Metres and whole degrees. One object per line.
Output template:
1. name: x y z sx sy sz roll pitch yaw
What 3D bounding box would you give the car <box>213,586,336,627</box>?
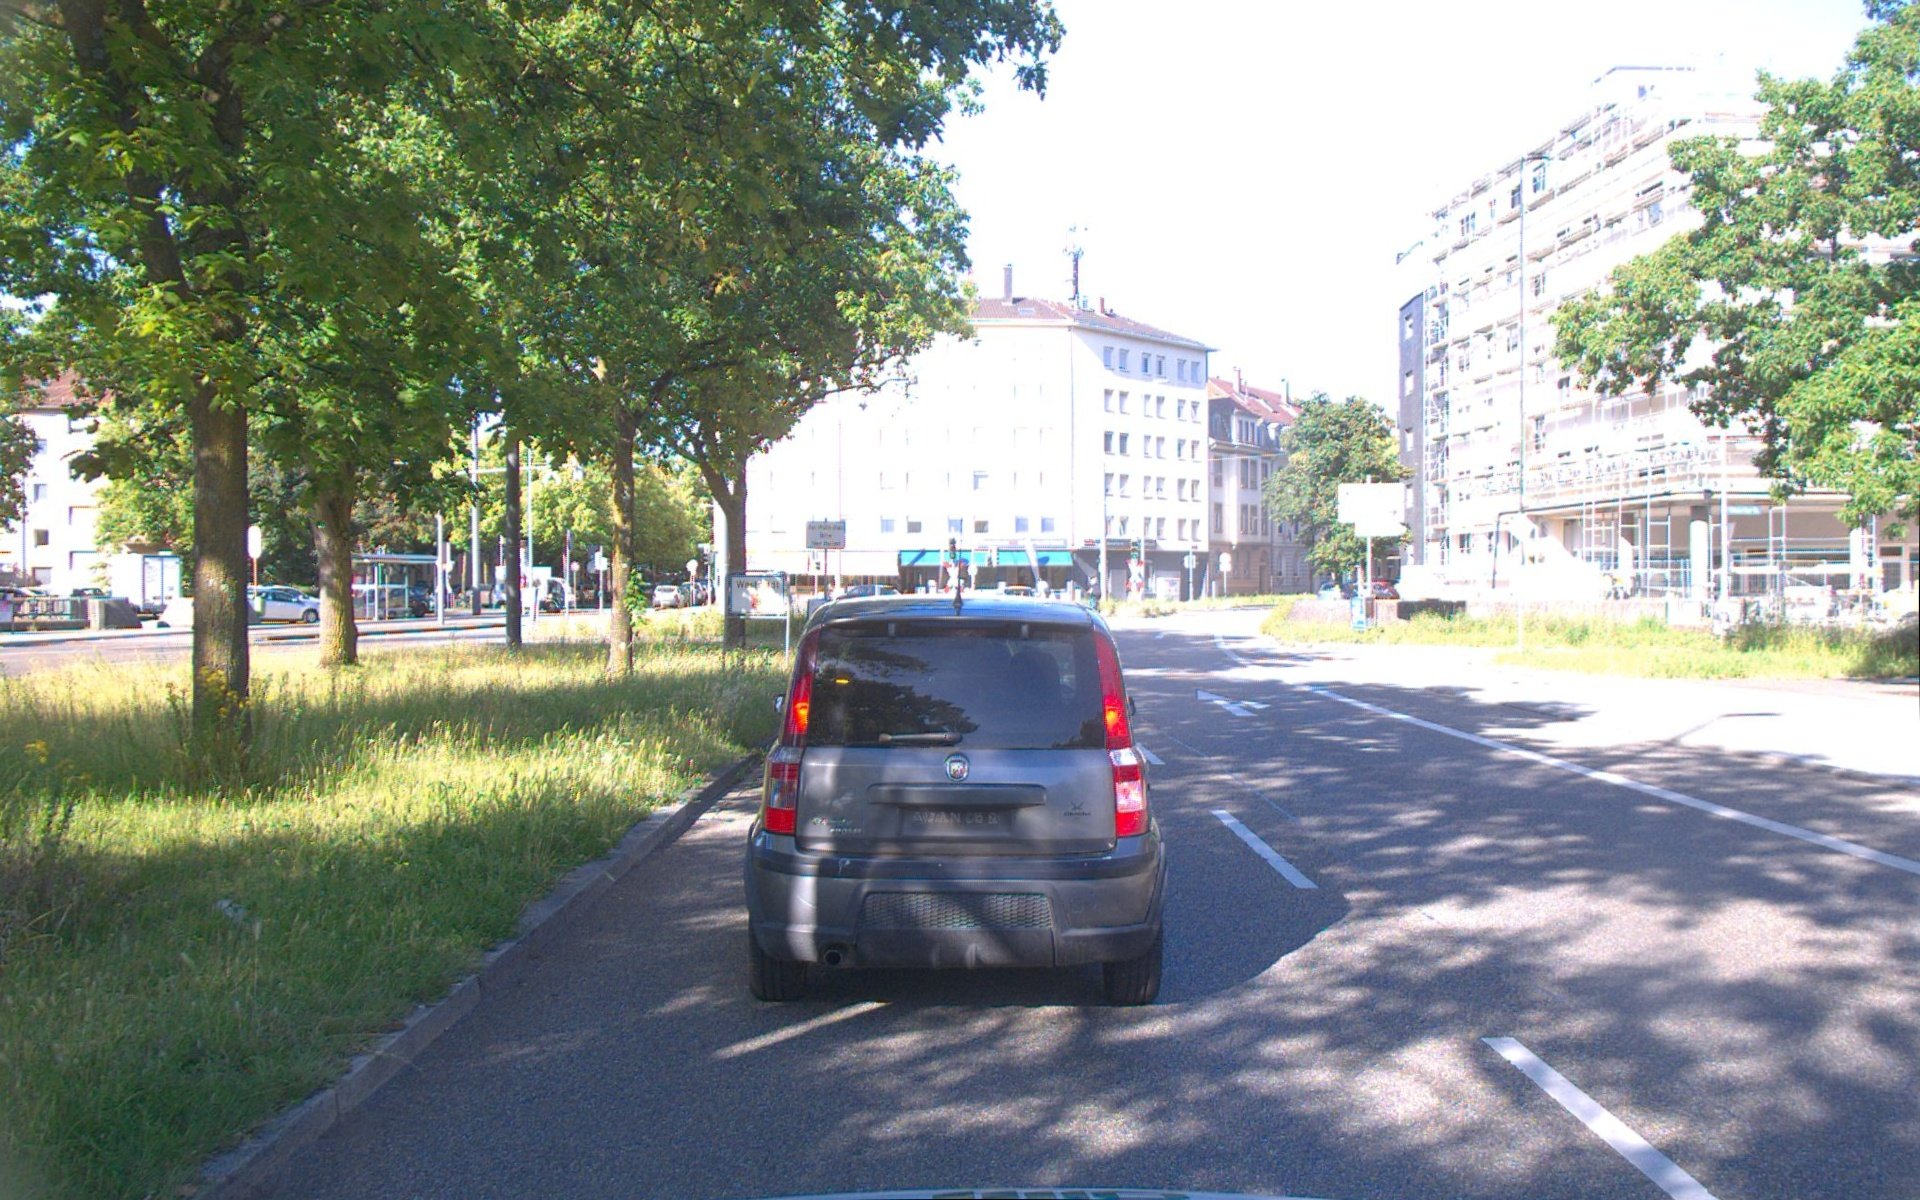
1. car: -29.225 0.246 70.610 1.840 1.570 4.521 4 3 42

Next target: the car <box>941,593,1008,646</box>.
1. car: 0.408 0.479 42.950 1.655 1.275 3.627 0 1 2

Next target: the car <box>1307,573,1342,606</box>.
1. car: 23.460 -0.656 106.397 1.951 2.049 4.003 1 0 15

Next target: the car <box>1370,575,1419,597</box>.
1. car: 31.881 -1.035 121.498 1.872 1.621 3.986 -1 1 -13

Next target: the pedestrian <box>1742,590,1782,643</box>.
1. pedestrian: 23.495 0.479 48.458 0.637 1.523 0.907 0 0 -9

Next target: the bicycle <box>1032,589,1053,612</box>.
1. bicycle: 3.977 0.025 79.906 0.522 1.109 1.577 0 1 -17

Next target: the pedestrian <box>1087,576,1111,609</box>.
1. pedestrian: 6.131 -0.330 73.075 0.760 1.452 0.935 1 0 -14

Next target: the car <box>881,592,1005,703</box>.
1. car: -0.322 0.657 25.337 1.724 1.512 4.291 0 1 -2

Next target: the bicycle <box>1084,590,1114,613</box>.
1. bicycle: 6.131 0.066 73.047 0.769 0.968 1.849 1 0 -14

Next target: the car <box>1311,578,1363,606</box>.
1. car: 20.677 -0.474 90.692 1.742 1.468 3.610 1 1 31

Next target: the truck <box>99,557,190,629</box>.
1. truck: -36.012 -0.356 72.999 4.742 3.047 1.988 1 1 42

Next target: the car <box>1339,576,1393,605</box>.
1. car: 23.306 -0.556 94.860 1.787 1.534 3.990 0 1 32

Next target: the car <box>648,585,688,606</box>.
1. car: -19.012 -0.287 107.869 1.953 1.333 3.999 0 1 -1

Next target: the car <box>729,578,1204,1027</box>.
1. car: 0.047 0.680 7.323 1.625 1.536 3.252 0 1 1

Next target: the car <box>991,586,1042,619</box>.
1. car: 2.253 0.085 67.078 1.952 1.264 4.000 0 1 0

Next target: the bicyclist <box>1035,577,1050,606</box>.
1. bicyclist: 3.982 -0.407 79.891 0.522 1.380 0.594 0 0 -18

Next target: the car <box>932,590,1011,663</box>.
1. car: 0.255 0.535 35.697 1.612 1.463 3.396 0 1 1

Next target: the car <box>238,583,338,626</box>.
1. car: -29.941 0.165 73.812 1.724 1.747 3.997 3 3 26

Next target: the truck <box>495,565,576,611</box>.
1. truck: -23.023 -0.671 89.832 4.015 2.469 1.792 0 0 -4

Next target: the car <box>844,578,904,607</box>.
1. car: -4.656 -0.421 89.552 1.643 1.527 3.549 -1 1 -35

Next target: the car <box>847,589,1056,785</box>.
1. car: -0.089 0.651 14.452 1.588 1.454 3.688 0 1 -1
